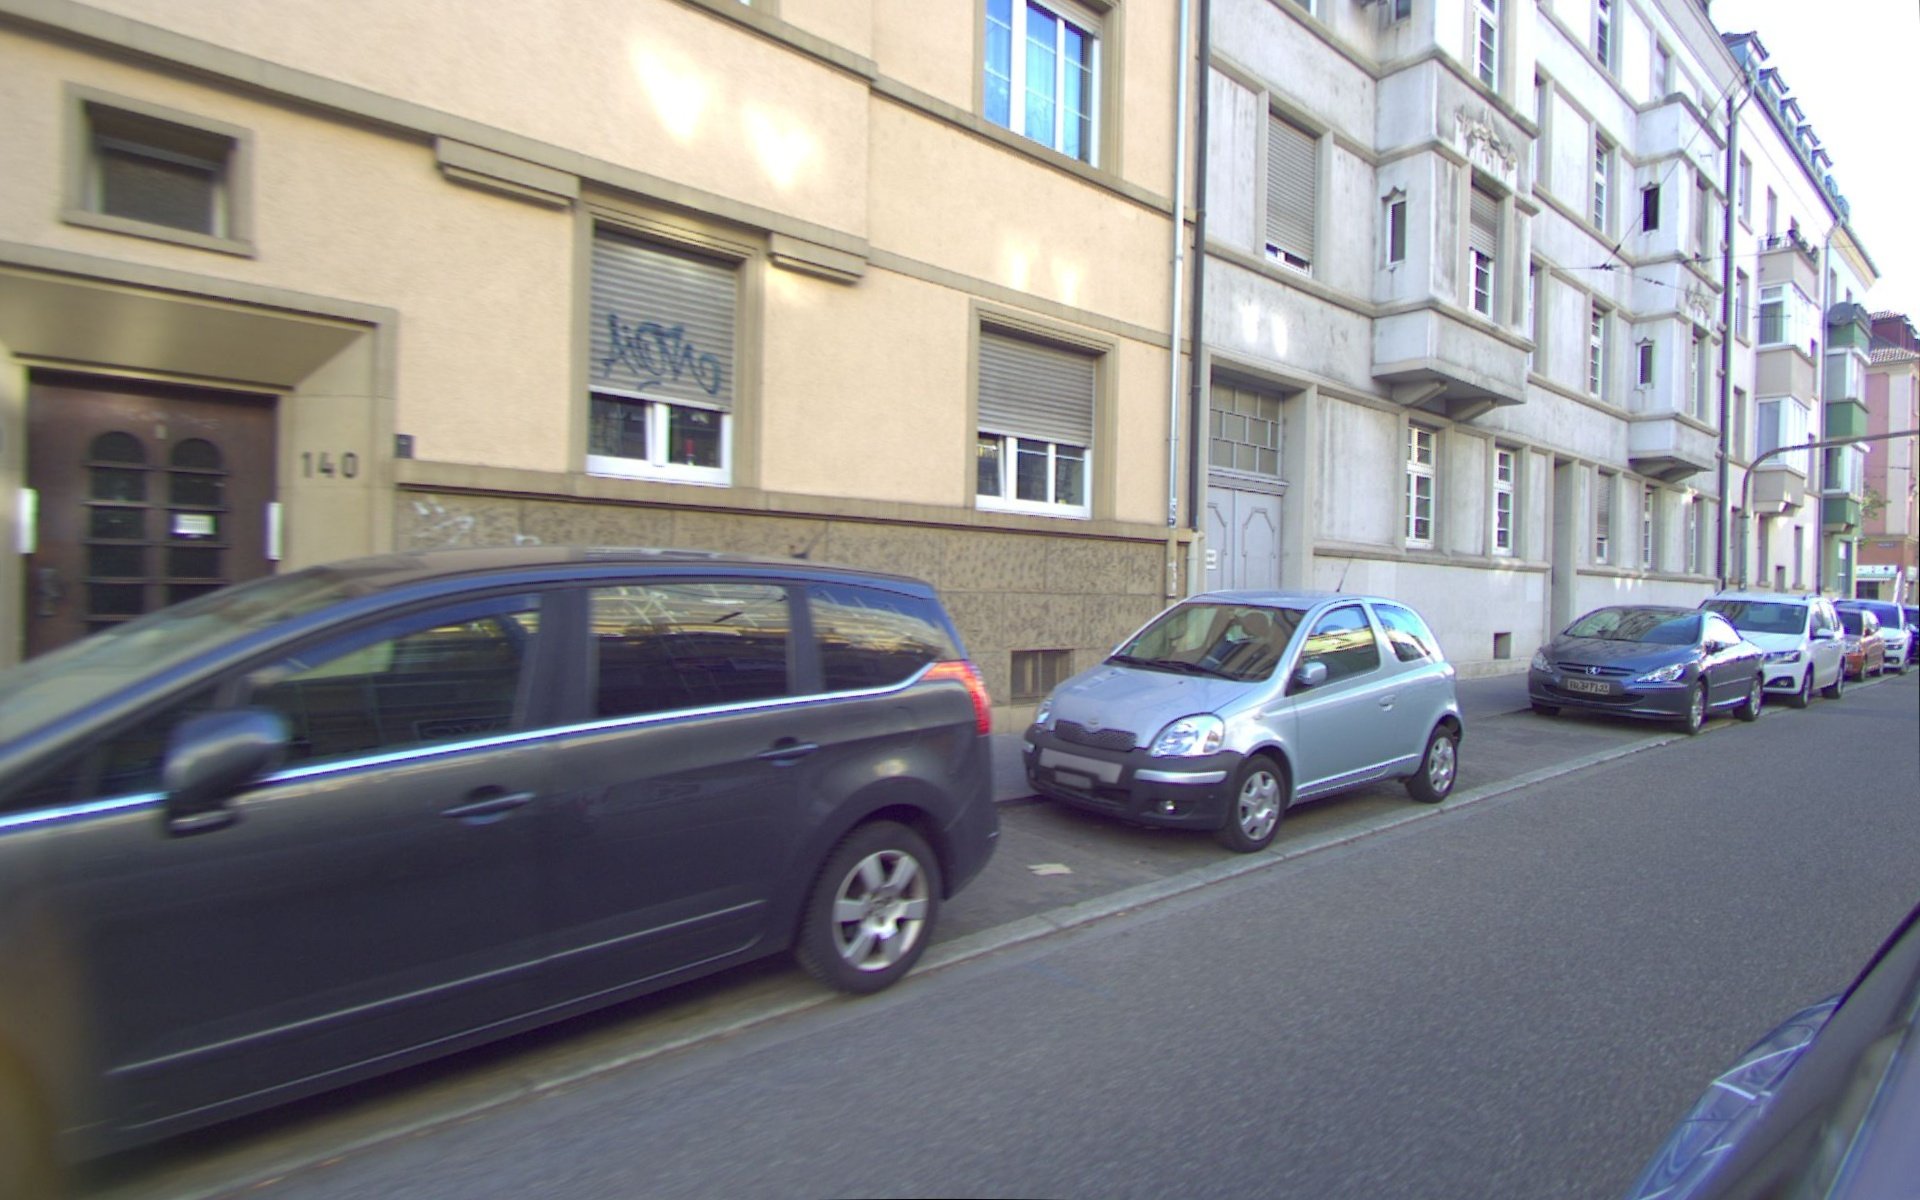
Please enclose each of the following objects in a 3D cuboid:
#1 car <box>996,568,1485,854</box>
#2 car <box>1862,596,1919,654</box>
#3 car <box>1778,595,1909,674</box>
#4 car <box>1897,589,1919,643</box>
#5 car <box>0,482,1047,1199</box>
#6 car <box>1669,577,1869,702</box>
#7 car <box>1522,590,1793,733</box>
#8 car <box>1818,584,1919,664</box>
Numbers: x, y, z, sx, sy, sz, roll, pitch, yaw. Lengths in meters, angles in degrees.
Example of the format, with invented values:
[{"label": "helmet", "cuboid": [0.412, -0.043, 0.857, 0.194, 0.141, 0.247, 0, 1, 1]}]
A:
[{"label": "car", "cuboid": [2.068, 0.570, 7.060, 3.417, 1.481, 1.612, 0, 2, -40]}, {"label": "car", "cuboid": [26.662, 0.667, 28.224, 3.794, 1.524, 1.702, 0, 1, -40]}, {"label": "car", "cuboid": [19.135, 0.684, 21.886, 3.304, 1.502, 1.571, 0, 3, -40]}, {"label": "car", "cuboid": [30.547, 0.494, 31.421, 3.891, 1.610, 1.702, 0, 1, -41]}, {"label": "car", "cuboid": [-1.833, 0.550, 3.491, 4.292, 1.672, 1.793, 0, 2, -42]}, {"label": "car", "cuboid": [13.172, 0.541, 16.373, 4.509, 1.714, 1.712, 0, 2, -41]}, {"label": "car", "cuboid": [8.919, 0.657, 12.820, 4.130, 1.470, 1.704, 0, 2, -39]}, {"label": "car", "cuboid": [22.473, 0.529, 24.557, 4.111, 1.719, 1.703, 0, 2, -38]}]
